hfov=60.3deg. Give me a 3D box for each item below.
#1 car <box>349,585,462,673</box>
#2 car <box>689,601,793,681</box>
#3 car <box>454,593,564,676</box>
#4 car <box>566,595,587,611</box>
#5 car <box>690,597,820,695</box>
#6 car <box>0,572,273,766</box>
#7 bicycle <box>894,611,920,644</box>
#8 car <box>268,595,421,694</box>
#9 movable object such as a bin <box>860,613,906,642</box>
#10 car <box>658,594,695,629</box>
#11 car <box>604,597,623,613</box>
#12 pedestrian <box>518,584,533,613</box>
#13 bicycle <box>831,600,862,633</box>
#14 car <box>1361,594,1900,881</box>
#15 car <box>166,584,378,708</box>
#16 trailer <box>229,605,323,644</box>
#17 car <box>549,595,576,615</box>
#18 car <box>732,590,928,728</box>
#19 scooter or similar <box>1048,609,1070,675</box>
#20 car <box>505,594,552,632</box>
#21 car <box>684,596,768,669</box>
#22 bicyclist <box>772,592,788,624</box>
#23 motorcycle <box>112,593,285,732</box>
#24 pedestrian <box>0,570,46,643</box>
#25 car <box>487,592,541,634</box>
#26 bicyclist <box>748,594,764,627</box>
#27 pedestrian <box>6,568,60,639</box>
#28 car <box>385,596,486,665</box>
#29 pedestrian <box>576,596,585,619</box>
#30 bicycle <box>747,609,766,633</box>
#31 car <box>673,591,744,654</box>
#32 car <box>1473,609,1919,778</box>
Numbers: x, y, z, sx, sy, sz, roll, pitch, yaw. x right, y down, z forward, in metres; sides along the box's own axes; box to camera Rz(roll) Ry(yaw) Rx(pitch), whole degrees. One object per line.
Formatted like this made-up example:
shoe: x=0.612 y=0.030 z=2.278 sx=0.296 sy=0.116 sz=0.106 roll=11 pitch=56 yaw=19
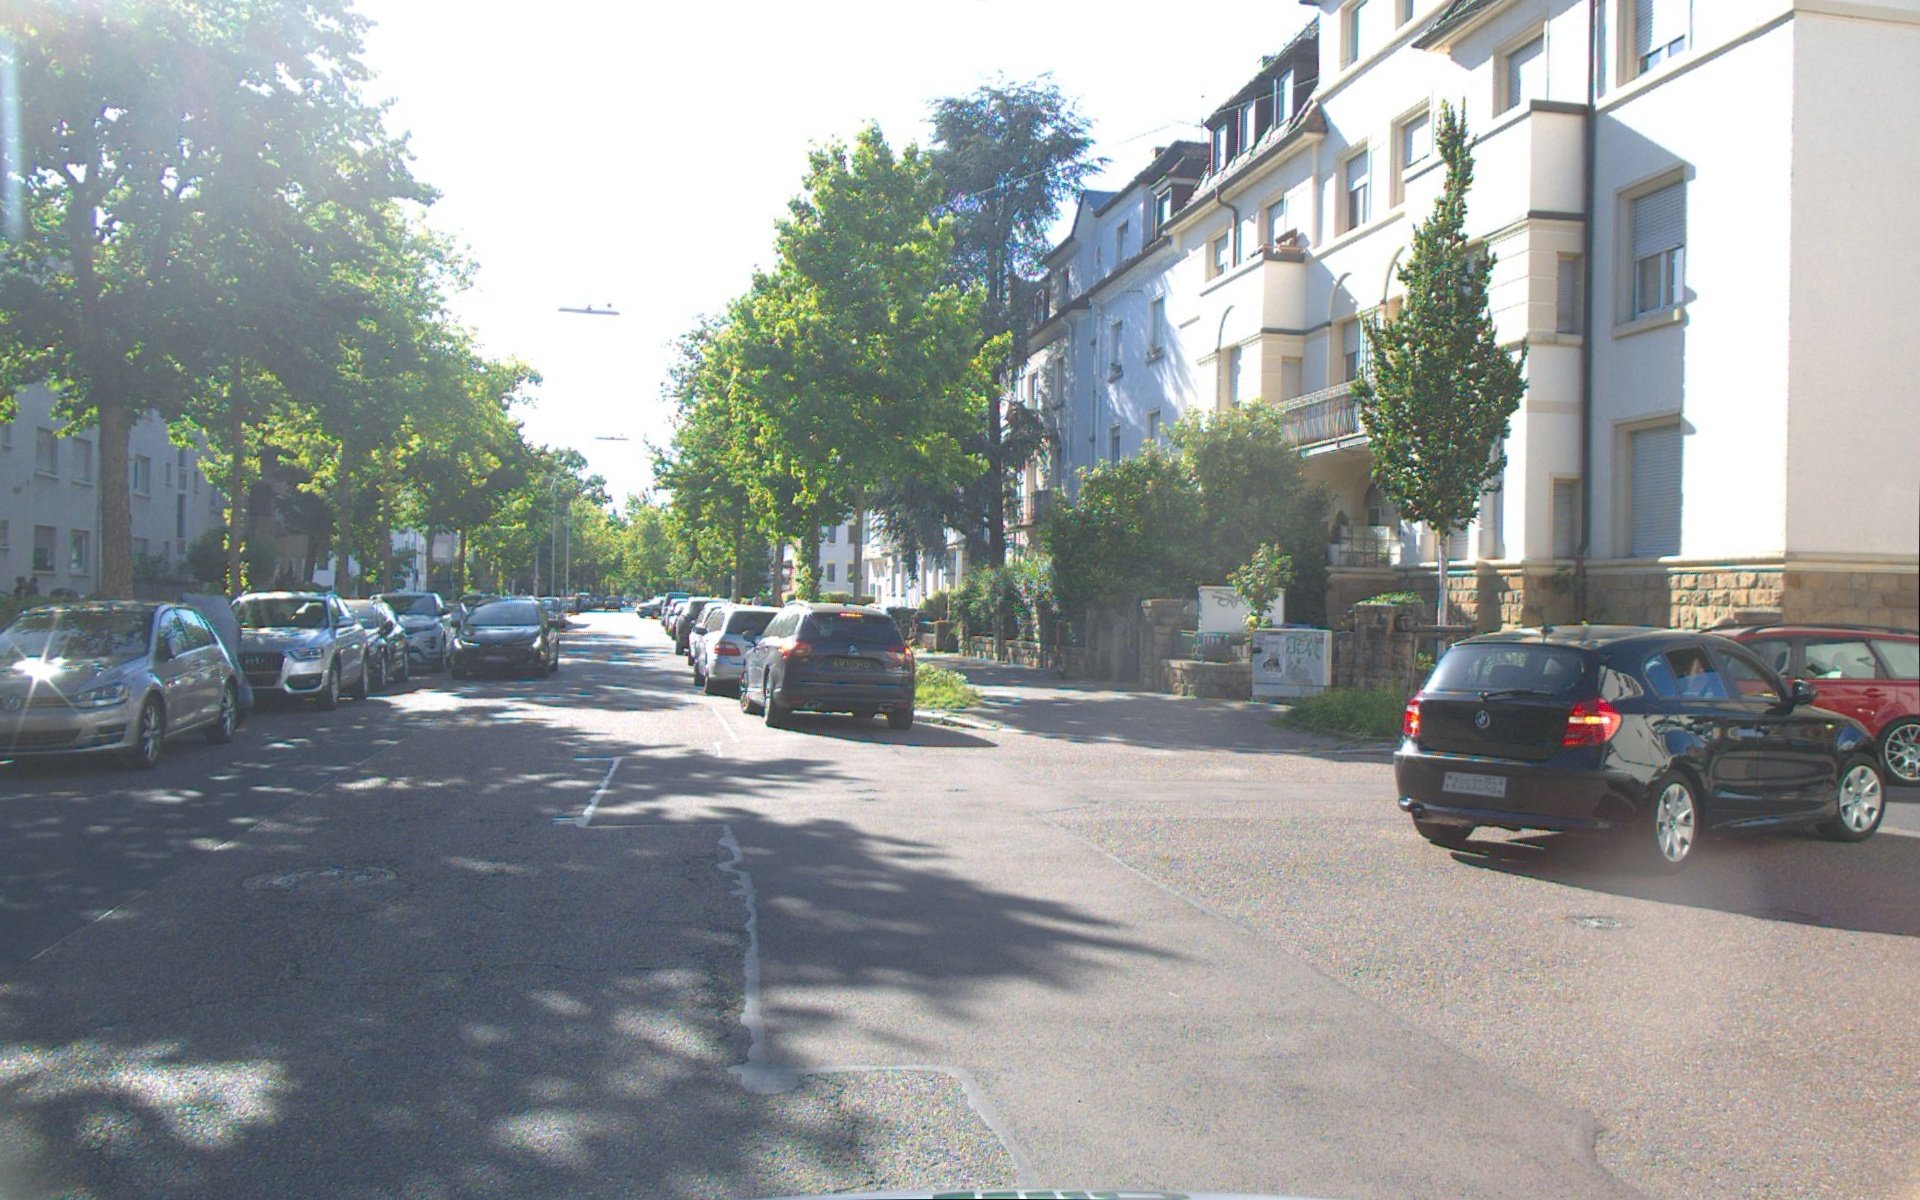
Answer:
car: x=-11.565 y=0.571 z=34.742 sx=1.698 sy=1.646 sz=4.353 roll=-3 pitch=1 yaw=-12
car: x=-4.555 y=0.786 z=33.935 sx=1.681 sy=1.435 sz=4.846 roll=3 pitch=0 yaw=-12
car: x=-8.683 y=0.622 z=32.139 sx=1.777 sy=1.471 sz=4.353 roll=-1 pitch=0 yaw=-12
car: x=-40.730 y=0.341 z=175.628 sx=1.958 sy=1.613 sz=3.989 roll=1 pitch=0 yaw=-11
car: x=-3.689 y=0.741 z=29.034 sx=1.789 sy=1.495 sz=4.894 roll=3 pitch=0 yaw=-12
car: x=-8.065 y=0.544 z=15.524 sx=2.006 sy=1.551 sz=4.595 roll=1 pitch=0 yaw=-10
bicycle: x=-1.644 y=0.837 z=51.468 sx=0.570 sy=0.992 sz=1.899 roll=0 pitch=0 yaw=-9
car: x=-10.412 y=0.686 z=28.295 sx=1.698 sy=1.472 sz=4.807 roll=-2 pitch=1 yaw=-12
movable object such as a bin: x=-2.558 y=0.891 z=54.852 sx=1.195 sy=0.920 sz=1.665 roll=1 pitch=0 yaw=9
car: x=-16.855 y=0.661 z=98.204 sx=1.936 sy=1.983 sz=4.971 roll=1 pitch=0 yaw=-12
car: x=-37.302 y=0.524 z=177.798 sx=1.754 sy=1.637 sz=3.984 roll=0 pitch=0 yaw=-15
pedestrian: x=-30.841 y=-0.112 z=117.366 sx=0.842 sy=2.049 sz=0.980 roll=1 pitch=0 yaw=-3
bicycle: x=-4.617 y=0.663 z=67.021 sx=0.824 sy=1.279 sz=2.222 roll=2 pitch=-1 yaw=-15
car: x=4.531 y=0.735 z=10.905 sx=3.965 sy=1.550 sz=1.761 roll=0 pitch=0 yaw=-42
car: x=-9.489 y=0.575 z=23.206 sx=2.029 sy=1.551 sz=4.704 roll=1 pitch=0 yaw=-14
trailer: x=-19.736 y=0.694 z=47.839 sx=1.756 sy=1.052 sz=3.274 roll=1 pitch=0 yaw=-9
car: x=-33.495 y=0.414 z=139.369 sx=1.958 sy=1.700 sz=3.989 roll=1 pitch=0 yaw=-11
car: x=-1.825 y=0.715 z=21.492 sx=1.862 sy=1.551 sz=4.951 roll=2 pitch=-1 yaw=-12
scooter or similar: x=1.884 y=0.789 z=31.309 sx=0.393 sy=1.205 sz=1.206 roll=1 pitch=0 yaw=4
car: x=-18.810 y=0.534 z=72.227 sx=1.679 sy=1.571 sz=3.920 roll=-1 pitch=0 yaw=-11
car: x=-5.645 y=0.743 z=39.541 sx=1.625 sy=1.559 sz=3.957 roll=3 pitch=-1 yaw=-12
bicyclist: x=-9.132 y=0.413 z=83.857 sx=0.665 sy=1.580 sz=1.018 roll=1 pitch=0 yaw=-14
motorcycle: x=-8.888 y=0.687 z=19.280 sx=2.191 sy=1.530 sz=0.985 roll=0 pitch=0 yaw=39
pedestrian: x=-25.283 y=0.181 z=44.521 sx=0.764 sy=1.947 sz=0.879 roll=0 pitch=0 yaw=15
car: x=-17.822 y=0.491 z=66.249 sx=1.779 sy=1.624 sz=4.221 roll=0 pitch=0 yaw=-11
bicyclist: x=-10.394 y=0.533 z=84.161 sx=0.665 sy=1.638 sz=0.918 roll=1 pitch=0 yaw=-14
pedestrian: x=-25.567 y=0.103 z=45.632 sx=0.914 sy=1.921 sz=1.025 roll=0 pitch=0 yaw=-3
car: x=-12.604 y=0.687 z=39.966 sx=1.697 sy=1.503 sz=4.607 roll=-3 pitch=1 yaw=-11
pedestrian: x=-32.502 y=0.668 z=141.665 sx=0.705 sy=1.933 sz=0.831 roll=1 pitch=0 yaw=-21
bicycle: x=-10.379 y=1.060 z=84.115 sx=0.672 sy=1.173 sz=2.394 roll=1 pitch=0 yaw=-14
car: x=-7.465 y=0.636 z=48.922 sx=1.890 sy=1.680 sz=5.083 roll=3 pitch=0 yaw=-9
car: x=7.616 y=0.871 z=16.196 sx=4.619 sy=1.495 sz=1.954 roll=1 pitch=-1 yaw=3
